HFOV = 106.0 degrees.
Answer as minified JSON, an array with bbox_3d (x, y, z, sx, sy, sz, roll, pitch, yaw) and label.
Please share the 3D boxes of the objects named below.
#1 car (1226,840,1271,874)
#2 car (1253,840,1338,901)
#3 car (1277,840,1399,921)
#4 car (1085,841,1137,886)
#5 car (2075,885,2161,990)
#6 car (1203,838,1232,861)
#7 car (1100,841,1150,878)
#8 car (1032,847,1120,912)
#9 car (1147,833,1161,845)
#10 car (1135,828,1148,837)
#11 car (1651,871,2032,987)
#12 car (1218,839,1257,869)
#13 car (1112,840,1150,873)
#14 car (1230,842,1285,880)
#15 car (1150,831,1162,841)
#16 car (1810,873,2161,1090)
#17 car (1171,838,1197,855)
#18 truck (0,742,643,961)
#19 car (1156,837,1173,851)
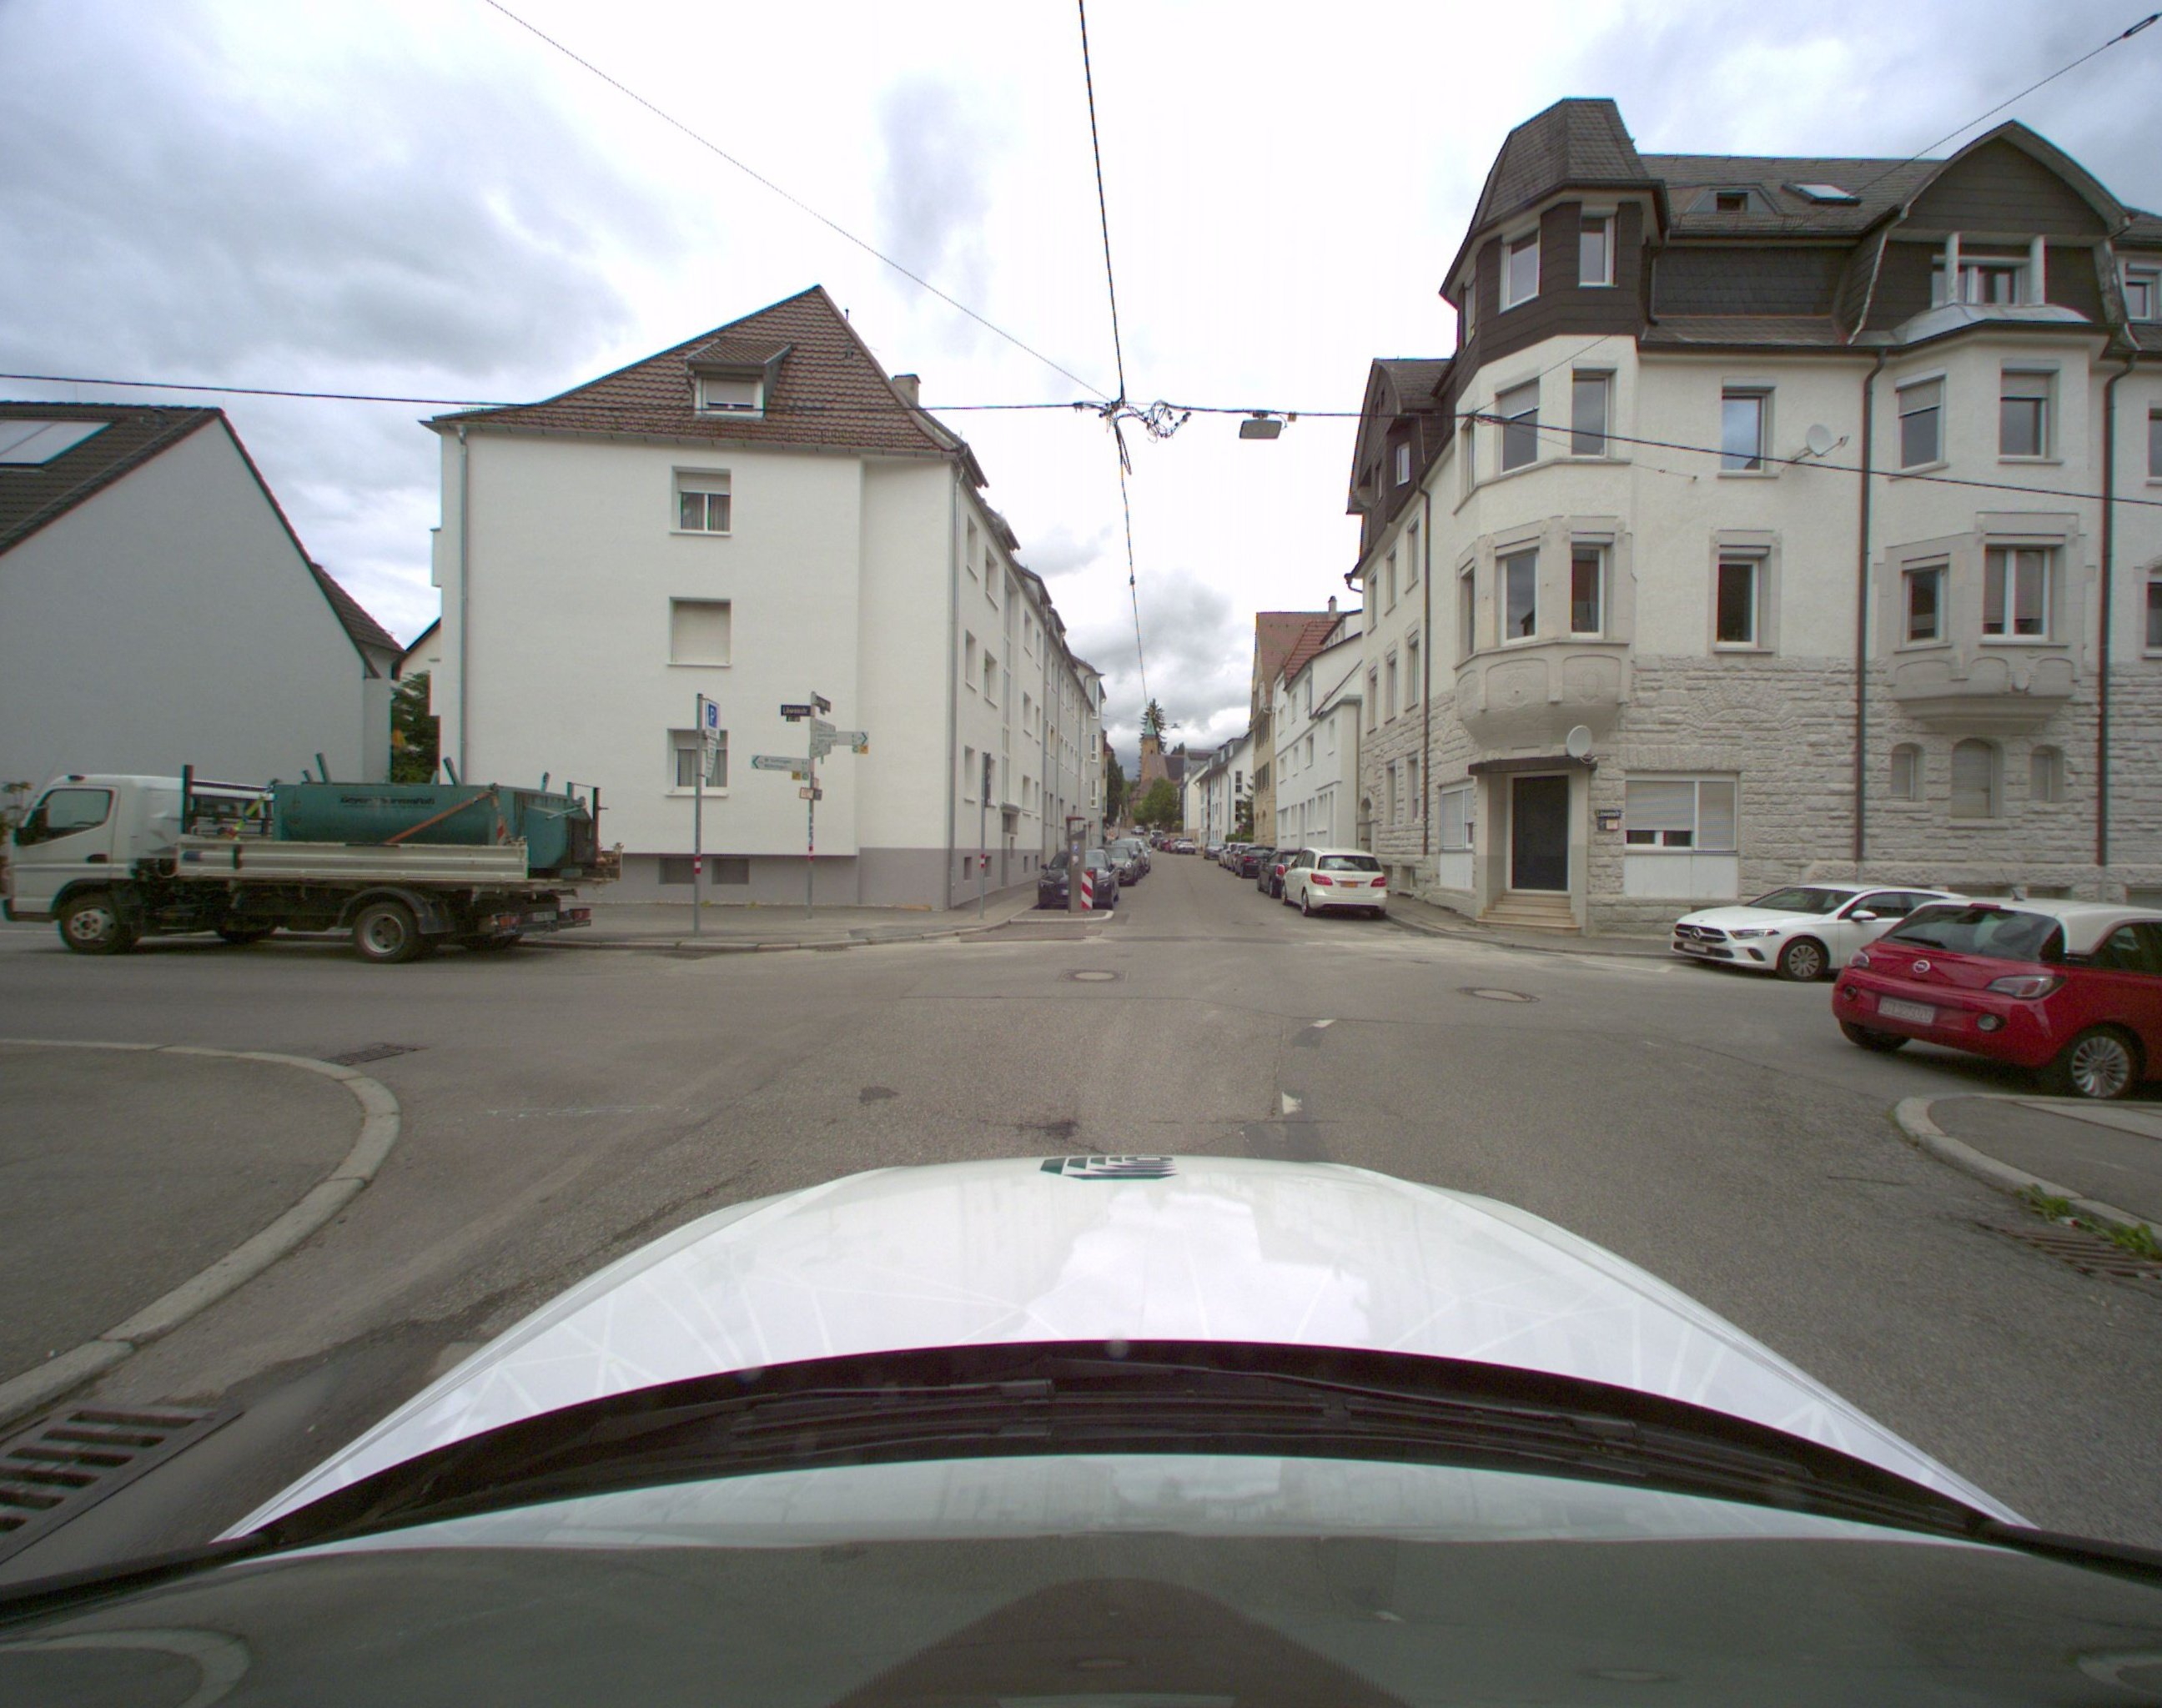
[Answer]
[{"bbox_3d":[8.329,0.116,40.847,1.660,1.479,3.630,2,2,3],"label":"car"},{"bbox_3d":[6.320,0.424,24.386,1.660,1.532,4.032,2,2,3],"label":"car"},{"bbox_3d":[5.984,0.534,19.456,1.812,1.599,4.032,2,2,3],"label":"car"},{"bbox_3d":[1.159,0.301,29.551,1.722,1.489,3.724,0,1,4],"label":"car"},{"bbox_3d":[18.209,1.349,12.308,4.216,1.515,1.850,2,0,-2],"label":"car"},{"bbox_3d":[9.818,-0.377,58.675,1.660,1.479,3.630,2,2,3],"label":"car"},{"bbox_3d":[1.898,0.193,34.212,1.720,1.469,3.729,0,1,8],"label":"car"},{"bbox_3d":[-0.008,0.551,20.284,1.812,1.391,4.304,0,1,4],"label":"car"},{"bbox_3d":[9.446,-1.943,105.363,1.660,1.479,3.630,1,2,3],"label":"car"},{"bbox_3d":[11.664,-4.163,156.450,2.176,1.693,3.624,1,2,-2],"label":"car"},{"bbox_3d":[11.280,1.074,12.267,4.216,1.414,1.703,2,0,-2],"label":"car"},{"bbox_3d":[8.675,-0.034,45.441,1.660,1.479,3.630,2,2,3],"label":"car"},{"bbox_3d":[2.458,0.085,39.381,1.722,1.448,3.724,0,1,4],"label":"car"},{"bbox_3d":[7.468,0.240,34.725,1.660,1.384,4.032,2,2,3],"label":"car"},{"bbox_3d":[10.802,-2.614,117.058,1.660,1.479,3.630,1,2,3],"label":"car"},{"bbox_3d":[8.598,0.994,6.791,3.605,1.479,1.672,2,0,-3],"label":"car"},{"bbox_3d":[9.739,-0.742,77.339,1.780,1.479,3.622,1,2,-4],"label":"car"},{"bbox_3d":[-9.618,0.002,10.812,6.250,2.552,2.316,0,-1,-2],"label":"truck"},{"bbox_3d":[9.075,-1.092,88.494,1.660,1.479,3.630,1,2,3],"label":"car"}]
